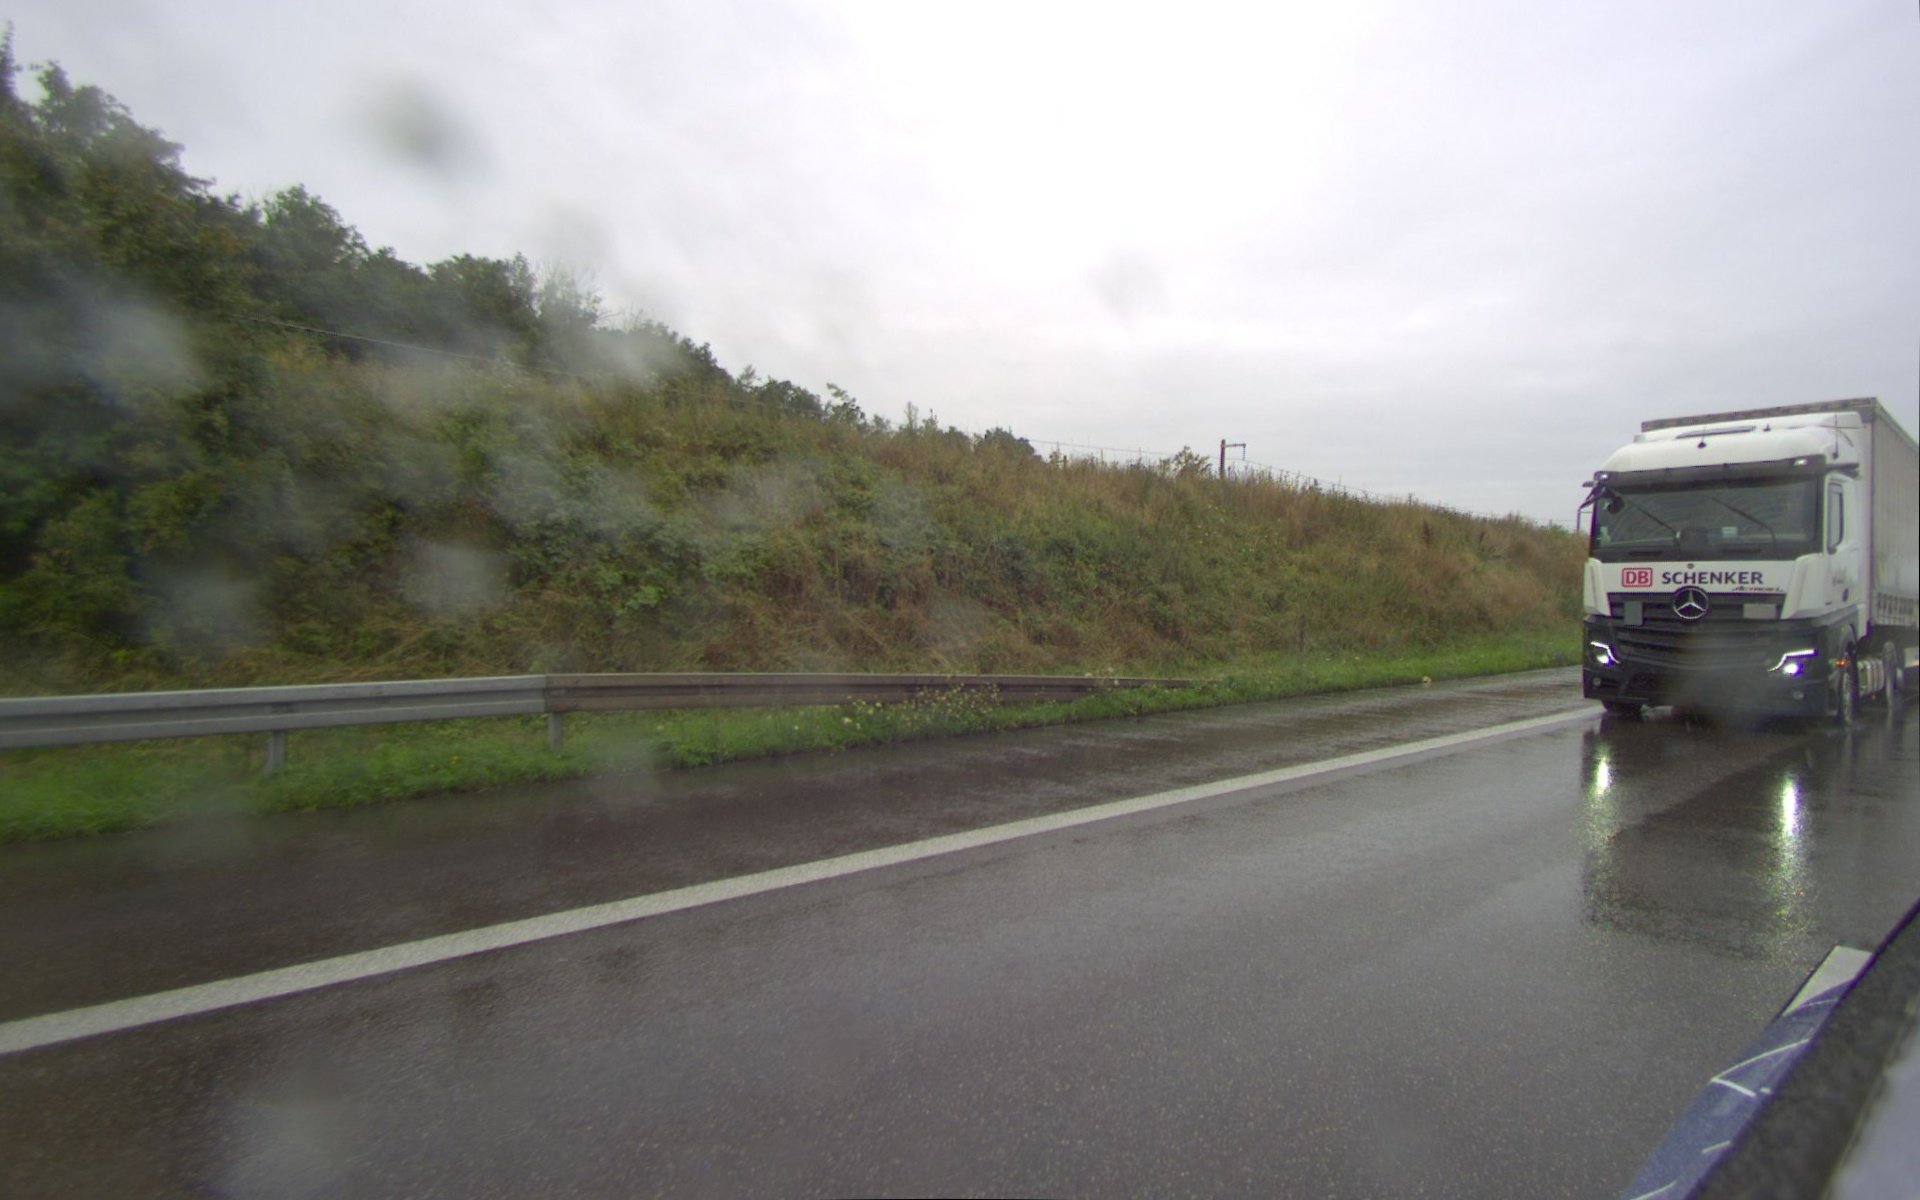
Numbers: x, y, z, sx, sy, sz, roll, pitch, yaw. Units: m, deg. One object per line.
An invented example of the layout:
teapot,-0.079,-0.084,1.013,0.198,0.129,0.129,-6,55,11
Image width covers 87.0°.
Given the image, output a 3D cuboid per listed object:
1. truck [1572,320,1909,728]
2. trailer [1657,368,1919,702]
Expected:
truck,10.369,-0.832,13.308,4.956,4.307,2.630,0,0,-41
trailer,16.485,-0.907,18.654,13.929,4.302,2.631,-1,0,-41
